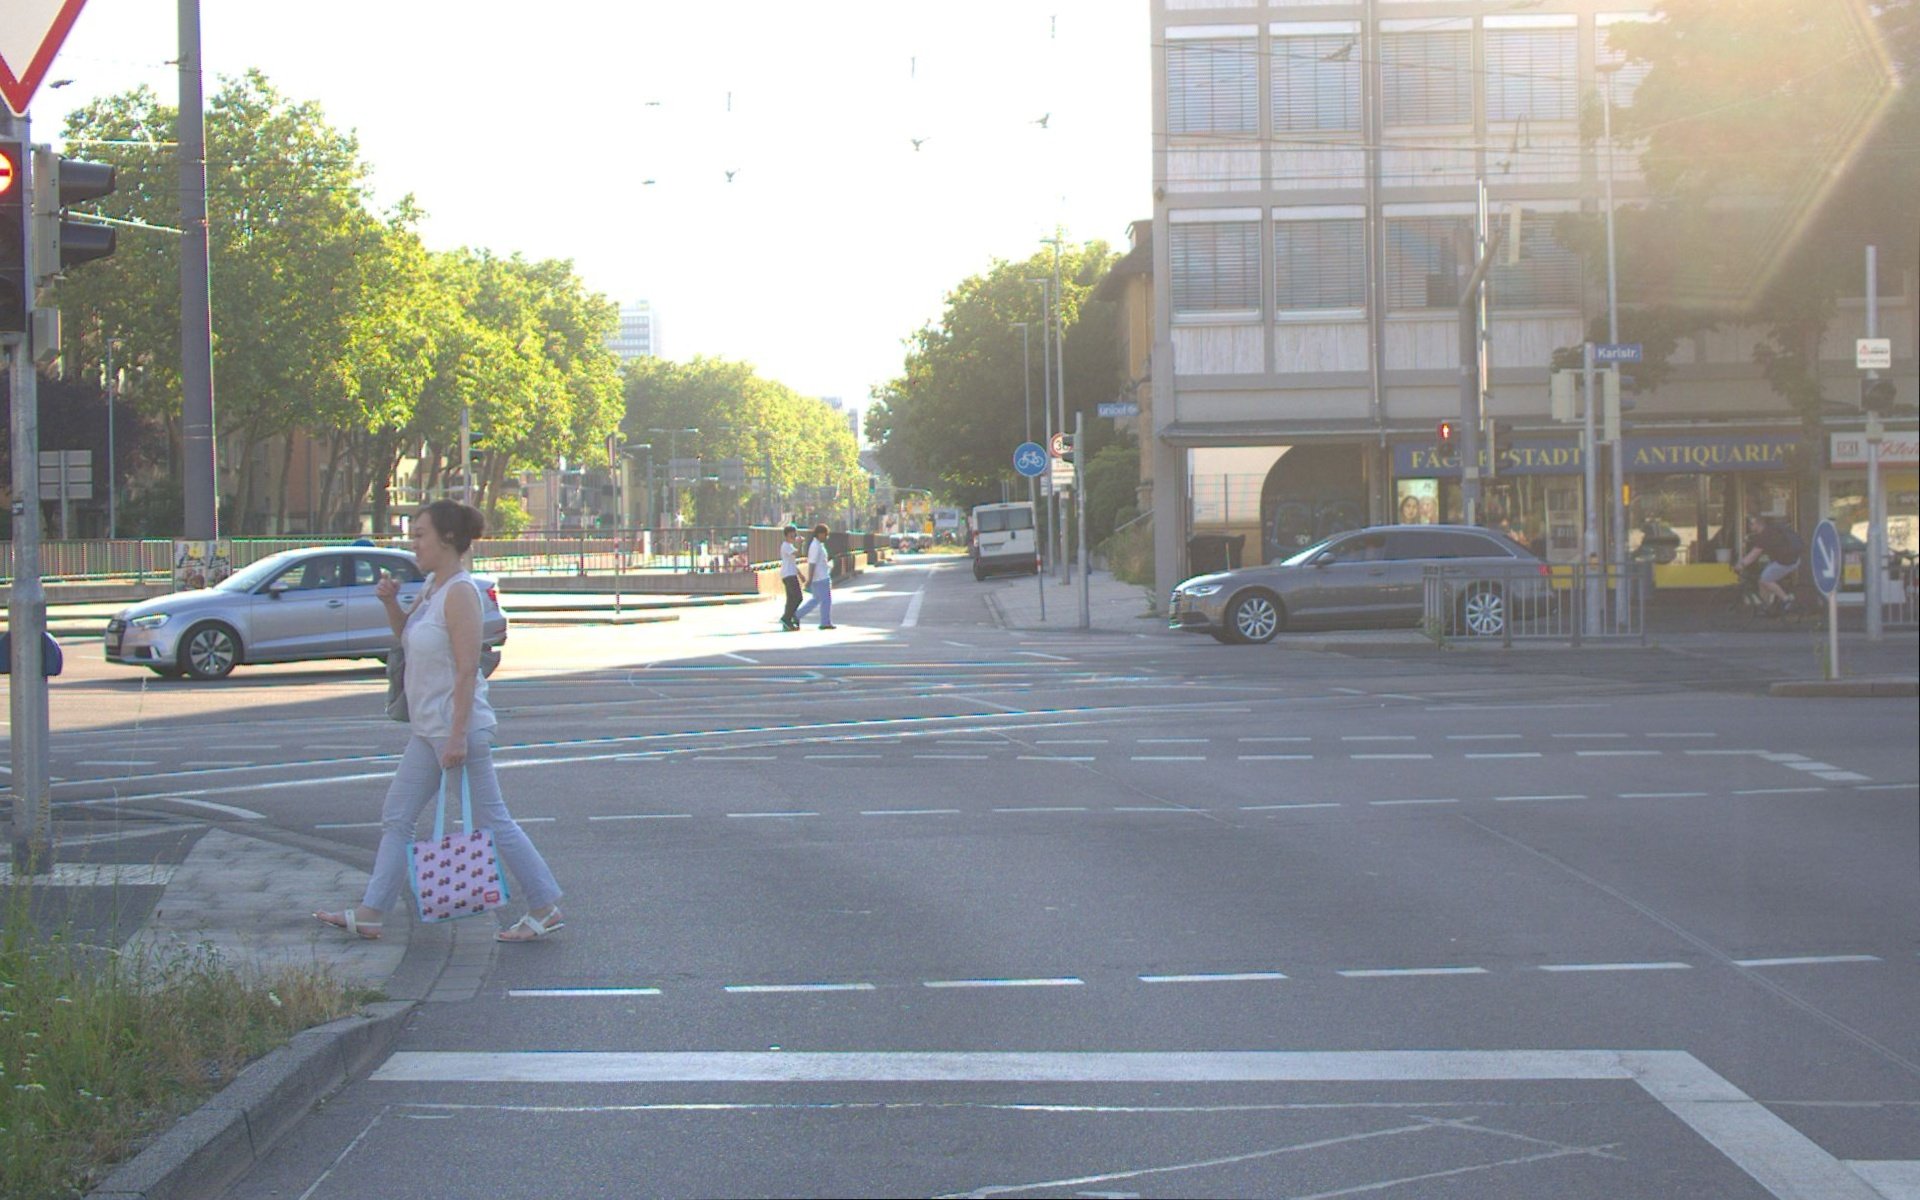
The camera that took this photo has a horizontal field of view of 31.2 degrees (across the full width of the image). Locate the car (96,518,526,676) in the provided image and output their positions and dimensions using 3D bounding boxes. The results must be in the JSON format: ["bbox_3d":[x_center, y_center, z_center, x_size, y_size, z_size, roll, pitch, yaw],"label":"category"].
[{"bbox_3d":[-7.242,-0.065,38.374,4.331,1.590,2.000,-2,1,-24],"label":"car"}]

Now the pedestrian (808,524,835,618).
[{"bbox_3d":[-2.242,-0.470,55.649,0.365,1.502,0.543,-1,1,-7],"label":"pedestrian"}]

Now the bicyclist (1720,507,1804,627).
[{"bbox_3d":[11.771,-0.489,50.470,1.040,1.733,0.678,-1,1,-4],"label":"bicyclist"}]

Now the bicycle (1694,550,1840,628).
[{"bbox_3d":[11.847,-0.168,50.483,1.972,1.094,0.677,-1,1,-4],"label":"bicycle"}]

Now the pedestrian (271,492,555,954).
[{"bbox_3d":[-1.945,0.423,12.307,0.878,1.592,0.655,-1,1,0],"label":"pedestrian"}]

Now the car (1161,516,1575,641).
[{"bbox_3d":[5.120,-0.291,43.570,4.919,1.473,2.000,-1,1,-3],"label":"car"}]

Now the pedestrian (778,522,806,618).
[{"bbox_3d":[-2.662,-0.471,54.307,0.365,1.502,0.543,-1,1,-7],"label":"pedestrian"}]

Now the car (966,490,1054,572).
[{"bbox_3d":[1.538,-2.141,107.534,2.486,2.384,5.935,-3,1,-1],"label":"car"}]
